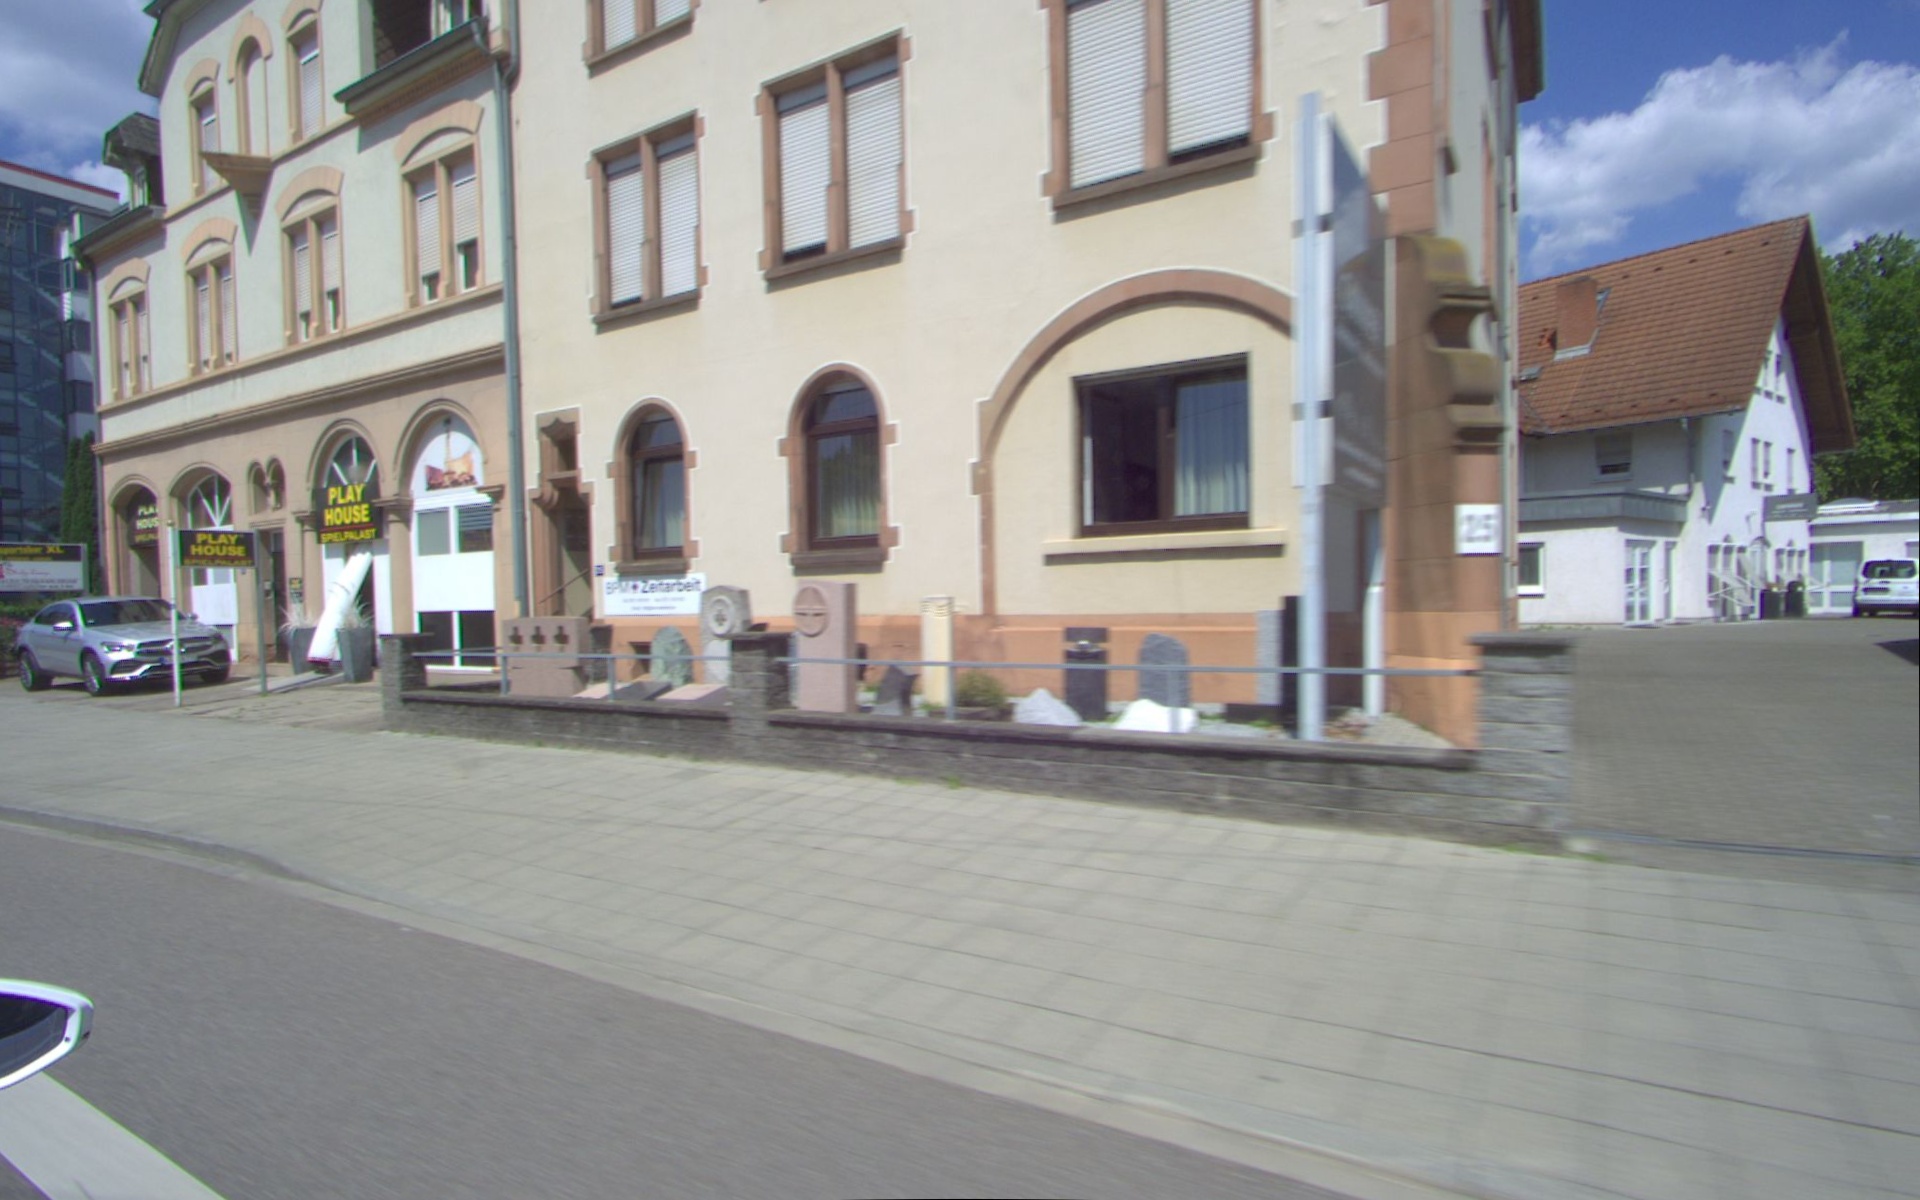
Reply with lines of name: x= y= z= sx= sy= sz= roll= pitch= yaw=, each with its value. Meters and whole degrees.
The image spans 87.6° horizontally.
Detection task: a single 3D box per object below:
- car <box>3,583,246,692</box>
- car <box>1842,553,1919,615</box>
car: x=-14.926 y=0.621 z=17.833 sx=4.572 sy=1.647 sz=1.873 roll=-1 pitch=3 yaw=32
car: x=27.570 y=-0.436 z=29.431 sx=3.957 sy=1.681 sz=1.983 roll=0 pitch=-1 yaw=-41
